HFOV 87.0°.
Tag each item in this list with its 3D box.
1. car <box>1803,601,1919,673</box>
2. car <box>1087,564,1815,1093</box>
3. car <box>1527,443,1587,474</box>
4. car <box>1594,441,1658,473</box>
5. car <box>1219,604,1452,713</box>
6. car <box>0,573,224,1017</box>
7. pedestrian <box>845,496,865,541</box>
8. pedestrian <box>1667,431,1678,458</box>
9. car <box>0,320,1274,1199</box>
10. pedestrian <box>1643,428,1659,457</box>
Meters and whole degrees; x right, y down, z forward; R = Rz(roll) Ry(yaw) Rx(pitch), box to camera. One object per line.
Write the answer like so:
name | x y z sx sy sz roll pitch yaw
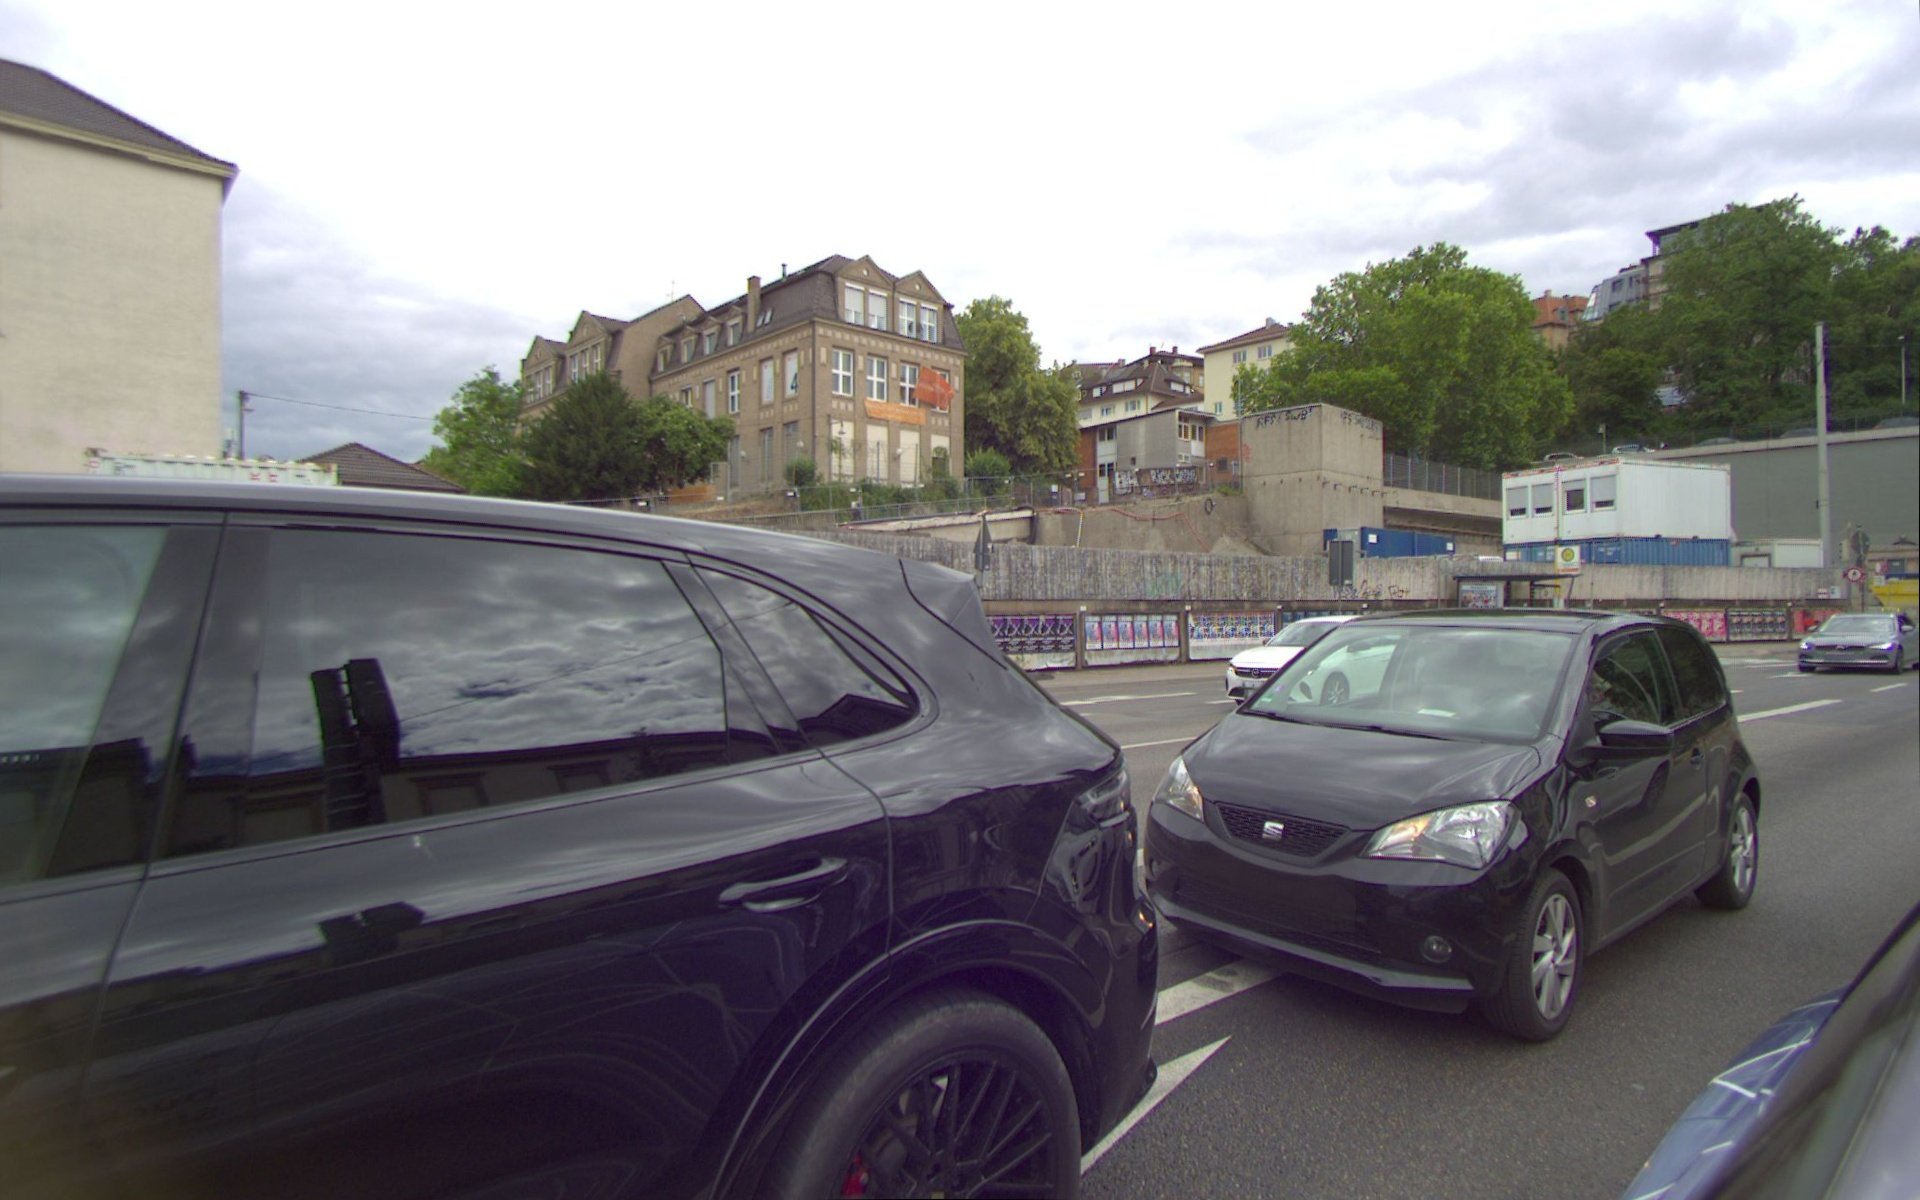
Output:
car | 22.545 0.838 24.836 4.568 1.591 1.827 0 0 -37
car | 2.519 0.661 4.778 3.812 1.515 1.667 0 -1 -40
car | 50.254 -11.902 85.214 3.988 2.039 1.968 0 1 45
car | 53.569 -11.495 81.424 3.988 2.039 1.968 0 1 45
car | 6.006 0.832 16.030 3.927 1.498 1.663 0 -1 -38
car | -4.891 0.694 3.412 3.812 1.563 1.667 0 -1 -40
pedestrian | -4.911 -3.810 47.385 0.656 2.039 0.644 0 0 -45
pedestrian | 56.765 -12.403 80.607 0.568 2.039 0.580 0 0 -44
car | -1.630 0.585 1.693 4.552 1.707 1.959 0 -1 -40
pedestrian | 53.197 -12.117 77.889 0.891 2.039 0.849 0 -1 -45
